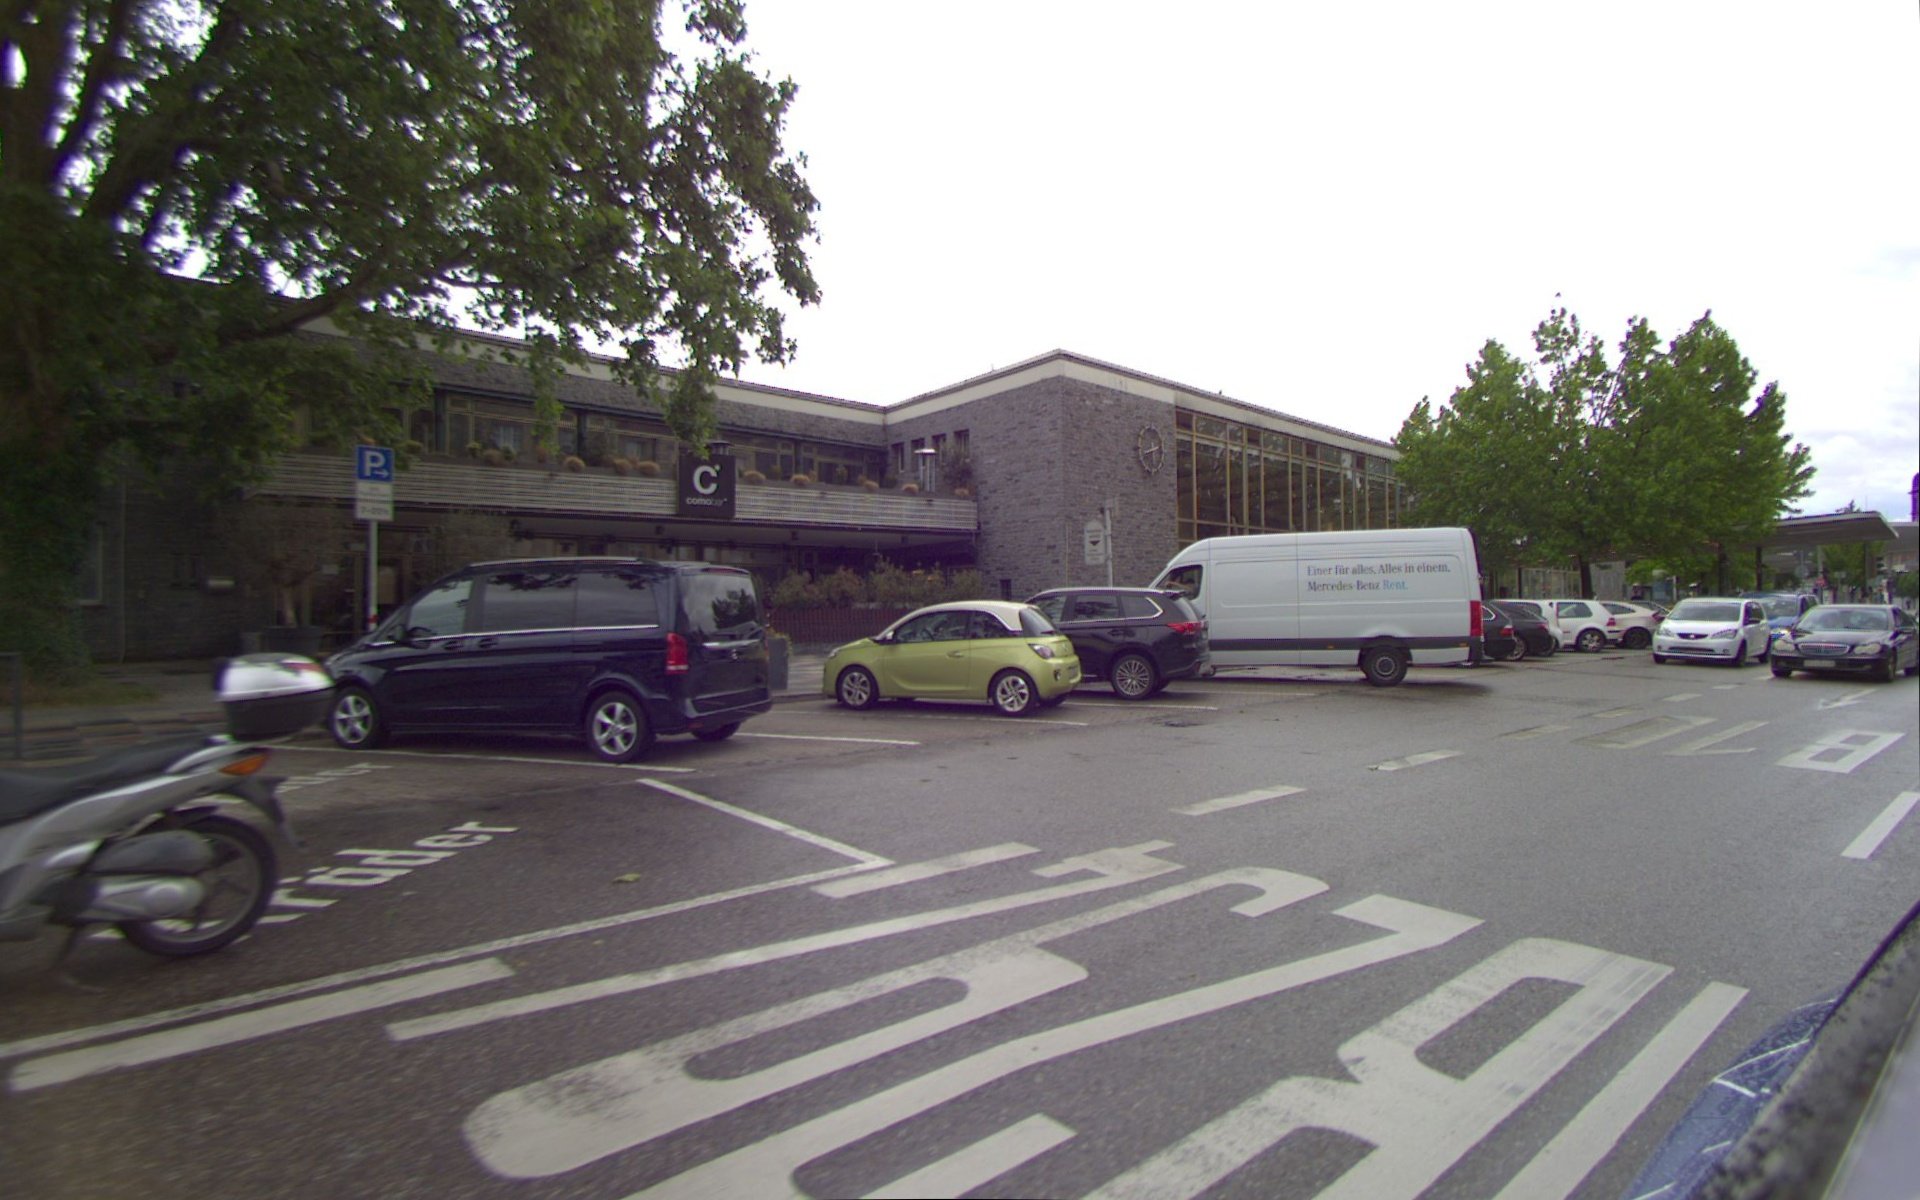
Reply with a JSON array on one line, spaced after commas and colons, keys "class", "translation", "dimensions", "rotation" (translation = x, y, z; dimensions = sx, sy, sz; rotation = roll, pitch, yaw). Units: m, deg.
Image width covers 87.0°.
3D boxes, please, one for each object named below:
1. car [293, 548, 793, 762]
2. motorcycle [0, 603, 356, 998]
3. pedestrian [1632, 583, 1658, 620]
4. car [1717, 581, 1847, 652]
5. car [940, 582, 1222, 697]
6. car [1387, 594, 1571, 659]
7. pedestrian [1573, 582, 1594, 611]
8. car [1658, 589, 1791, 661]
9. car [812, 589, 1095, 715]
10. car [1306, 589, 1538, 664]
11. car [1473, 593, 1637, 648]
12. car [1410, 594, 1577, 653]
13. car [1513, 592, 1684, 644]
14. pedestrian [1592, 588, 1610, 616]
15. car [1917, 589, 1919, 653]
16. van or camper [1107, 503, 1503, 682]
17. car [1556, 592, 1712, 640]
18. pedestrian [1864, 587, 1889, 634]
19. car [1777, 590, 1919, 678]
[{"class": "car", "translation": [-4.321, 0.462, 10.670], "dimensions": [4.635, 1.898, 2.098], "rotation": [0, 0, 17]}, {"class": "motorcycle", "translation": [-3.526, 0.704, 3.813], "dimensions": [2.072, 1.369, 0.644], "rotation": [0, 0, -41]}, {"class": "pedestrian", "translation": [33.964, 0.064, 50.201], "dimensions": [0.896, 1.780, 0.824], "rotation": [0, 0, -37]}, {"class": "car", "translation": [21.523, 0.377, 26.441], "dimensions": [4.337, 1.704, 1.823], "rotation": [0, 0, -39]}, {"class": "car", "translation": [1.955, 0.548, 16.151], "dimensions": [4.183, 1.655, 1.872], "rotation": [0, 0, 20]}, {"class": "car", "translation": [12.174, 0.575, 23.997], "dimensions": [3.643, 1.417, 1.768], "rotation": [0, 0, 20]}, {"class": "pedestrian", "translation": [33.441, -0.193, 54.257], "dimensions": [0.838, 1.530, 0.761], "rotation": [0, 0, -42]}, {"class": "car", "translation": [17.286, 0.505, 22.850], "dimensions": [3.525, 1.493, 1.660], "rotation": [0, 0, -40]}, {"class": "car", "translation": [-0.077, 0.629, 14.051], "dimensions": [3.550, 1.543, 1.749], "rotation": [0, 0, 23]}, {"class": "car", "translation": [9.922, 0.518, 22.128], "dimensions": [4.413, 1.490, 1.908], "rotation": [0, 0, 19]}, {"class": "car", "translation": [16.185, 0.515, 27.724], "dimensions": [3.575, 1.417, 1.768], "rotation": [0, 0, 20]}, {"class": "car", "translation": [13.672, 0.556, 26.157], "dimensions": [3.575, 1.417, 1.768], "rotation": [0, 0, 20]}, {"class": "car", "translation": [18.491, 0.483, 29.518], "dimensions": [3.882, 1.417, 1.768], "rotation": [0, 0, 20]}, {"class": "pedestrian", "translation": [38.731, 0.092, 61.140], "dimensions": [0.838, 1.669, 0.761], "rotation": [0, 0, -42]}, {"class": "car", "translation": [24.230, 0.493, 23.925], "dimensions": [3.757, 1.493, 1.871], "rotation": [0, 1, -39]}, {"class": "van or camper", "translation": [6.086, -0.159, 18.497], "dimensions": [6.446, 2.905, 2.266], "rotation": [0, 0, 19]}, {"class": "car", "translation": [21.129, 0.456, 31.914], "dimensions": [3.893, 1.417, 1.762], "rotation": [1, 0, 28]}, {"class": "pedestrian", "translation": [34.898, 0.382, 38.523], "dimensions": [0.686, 1.773, 0.561], "rotation": [0, 1, -37]}, {"class": "car", "translation": [17.174, 0.571, 19.208], "dimensions": [3.757, 1.493, 1.871], "rotation": [0, 1, -39]}]
